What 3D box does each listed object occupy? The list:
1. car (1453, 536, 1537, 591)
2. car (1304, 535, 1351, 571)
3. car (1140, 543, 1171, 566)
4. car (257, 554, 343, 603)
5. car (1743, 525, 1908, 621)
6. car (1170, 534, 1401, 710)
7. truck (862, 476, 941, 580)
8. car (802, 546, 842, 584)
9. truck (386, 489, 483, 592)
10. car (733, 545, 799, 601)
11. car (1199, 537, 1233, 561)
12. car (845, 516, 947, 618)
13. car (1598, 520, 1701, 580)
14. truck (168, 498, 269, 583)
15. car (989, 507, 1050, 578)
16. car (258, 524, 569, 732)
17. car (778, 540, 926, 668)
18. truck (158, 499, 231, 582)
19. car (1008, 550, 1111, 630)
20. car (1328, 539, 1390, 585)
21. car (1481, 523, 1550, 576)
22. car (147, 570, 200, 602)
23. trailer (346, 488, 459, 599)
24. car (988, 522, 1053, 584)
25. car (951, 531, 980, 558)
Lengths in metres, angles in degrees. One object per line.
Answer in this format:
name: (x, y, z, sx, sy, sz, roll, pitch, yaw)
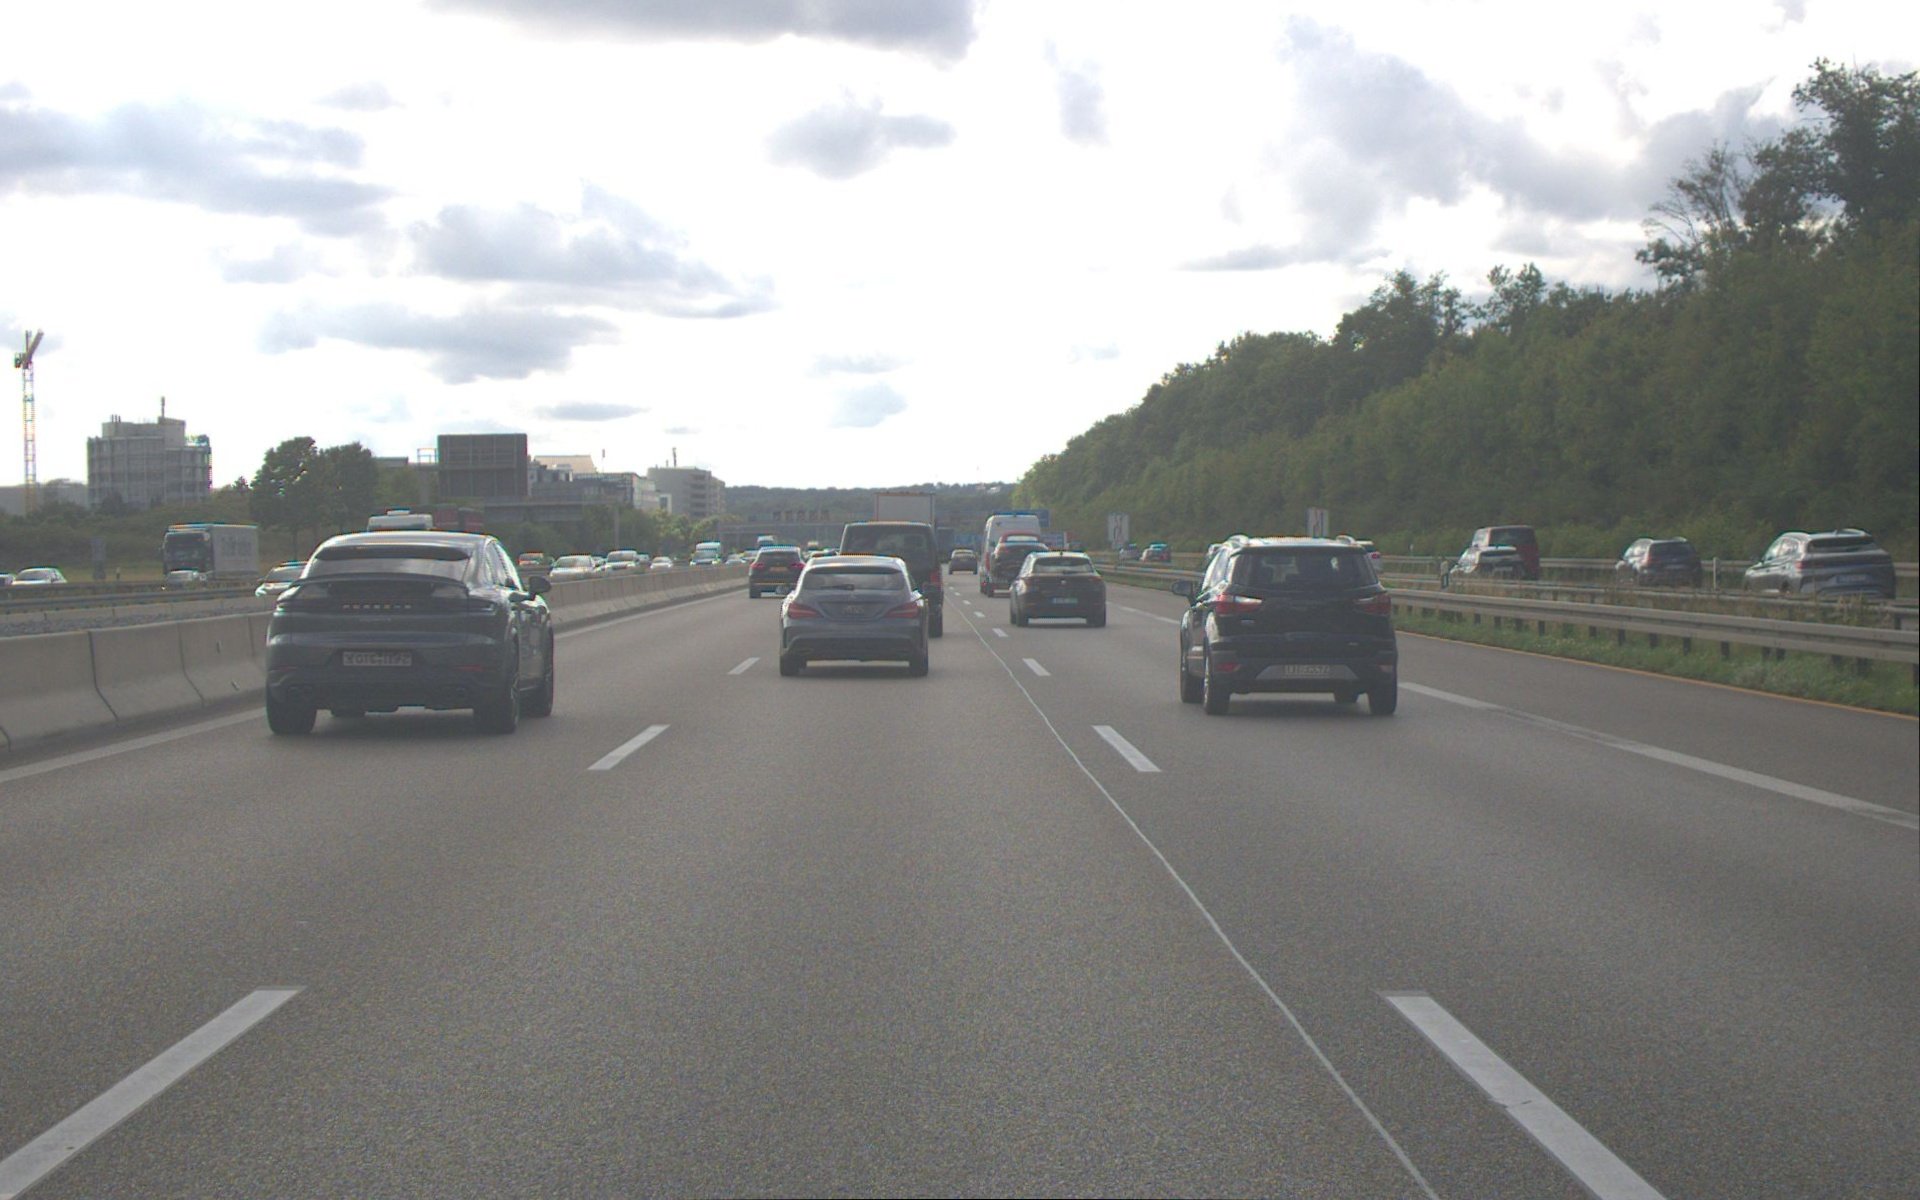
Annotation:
car: (15.295, -1.056, 98.425, 1.595, 1.540, 4.191, 0, 1, -2)
car: (17.611, -2.245, 164.794, 1.752, 1.689, 4.190, 0, 1, -1)
car: (13.144, -3.071, 231.567, 1.729, 1.528, 4.453, -1, 1, -1)
car: (-18.252, -0.619, 95.190, 1.580, 1.279, 4.241, -1, 1, 0)
car: (15.991, -0.524, 63.717, 1.846, 1.644, 4.306, -2, 1, -1)
car: (3.022, 0.160, 32.651, 1.697, 1.559, 4.114, 0, 1, -2)
truck: (-2.547, -3.119, 149.951, 3.263, 4.360, 11.027, 1, 1, -1)
car: (-6.077, -1.553, 151.841, 1.697, 1.605, 4.114, 0, 1, -2)
truck: (-22.700, -2.575, 148.914, 3.046, 4.274, 8.589, -1, 1, -1)
car: (-6.017, -0.852, 106.918, 1.873, 1.692, 4.072, 0, 1, -1)
car: (16.720, -3.343, 224.708, 1.752, 1.511, 4.191, 0, 1, -2)
car: (-1.111, -0.592, 59.922, 1.720, 1.718, 4.392, 0, 1, -1)
car: (18.843, -1.373, 94.065, 1.728, 1.540, 4.306, -2, 1, -2)
truck: (-43.762, -3.494, 203.310, 3.074, 4.786, 14.128, 0, 1, -1)
car: (1.981, -1.951, 115.629, 1.873, 2.349, 4.282, 0, 1, -1)
car: (-4.612, 0.167, 29.786, 1.912, 1.630, 5.501, 0, 1, -1)
car: (-1.290, 0.004, 42.017, 1.720, 1.474, 4.392, 0, 1, -1)
truck: (-43.719, -3.408, 196.433, 3.046, 4.643, 5.072, 0, 1, 0)
car: (1.932, -0.224, 67.764, 1.832, 1.516, 4.225, 0, 1, -1)
car: (15.009, -1.449, 129.524, 1.752, 1.689, 4.190, 0, 1, -1)
car: (19.005, -1.733, 117.642, 1.595, 1.797, 3.825, 0, 1, -2)
car: (-39.893, -0.722, 174.442, 1.729, 1.528, 4.453, 0, 1, -1)
trailer: (-22.451, -2.304, 138.975, 3.046, 4.274, 10.656, -1, 1, -1)
car: (1.900, -1.497, 108.873, 1.913, 1.912, 4.031, 0, 1, -1)
car: (0.339, -3.438, 213.452, 1.752, 1.689, 4.190, 0, 1, -1)
